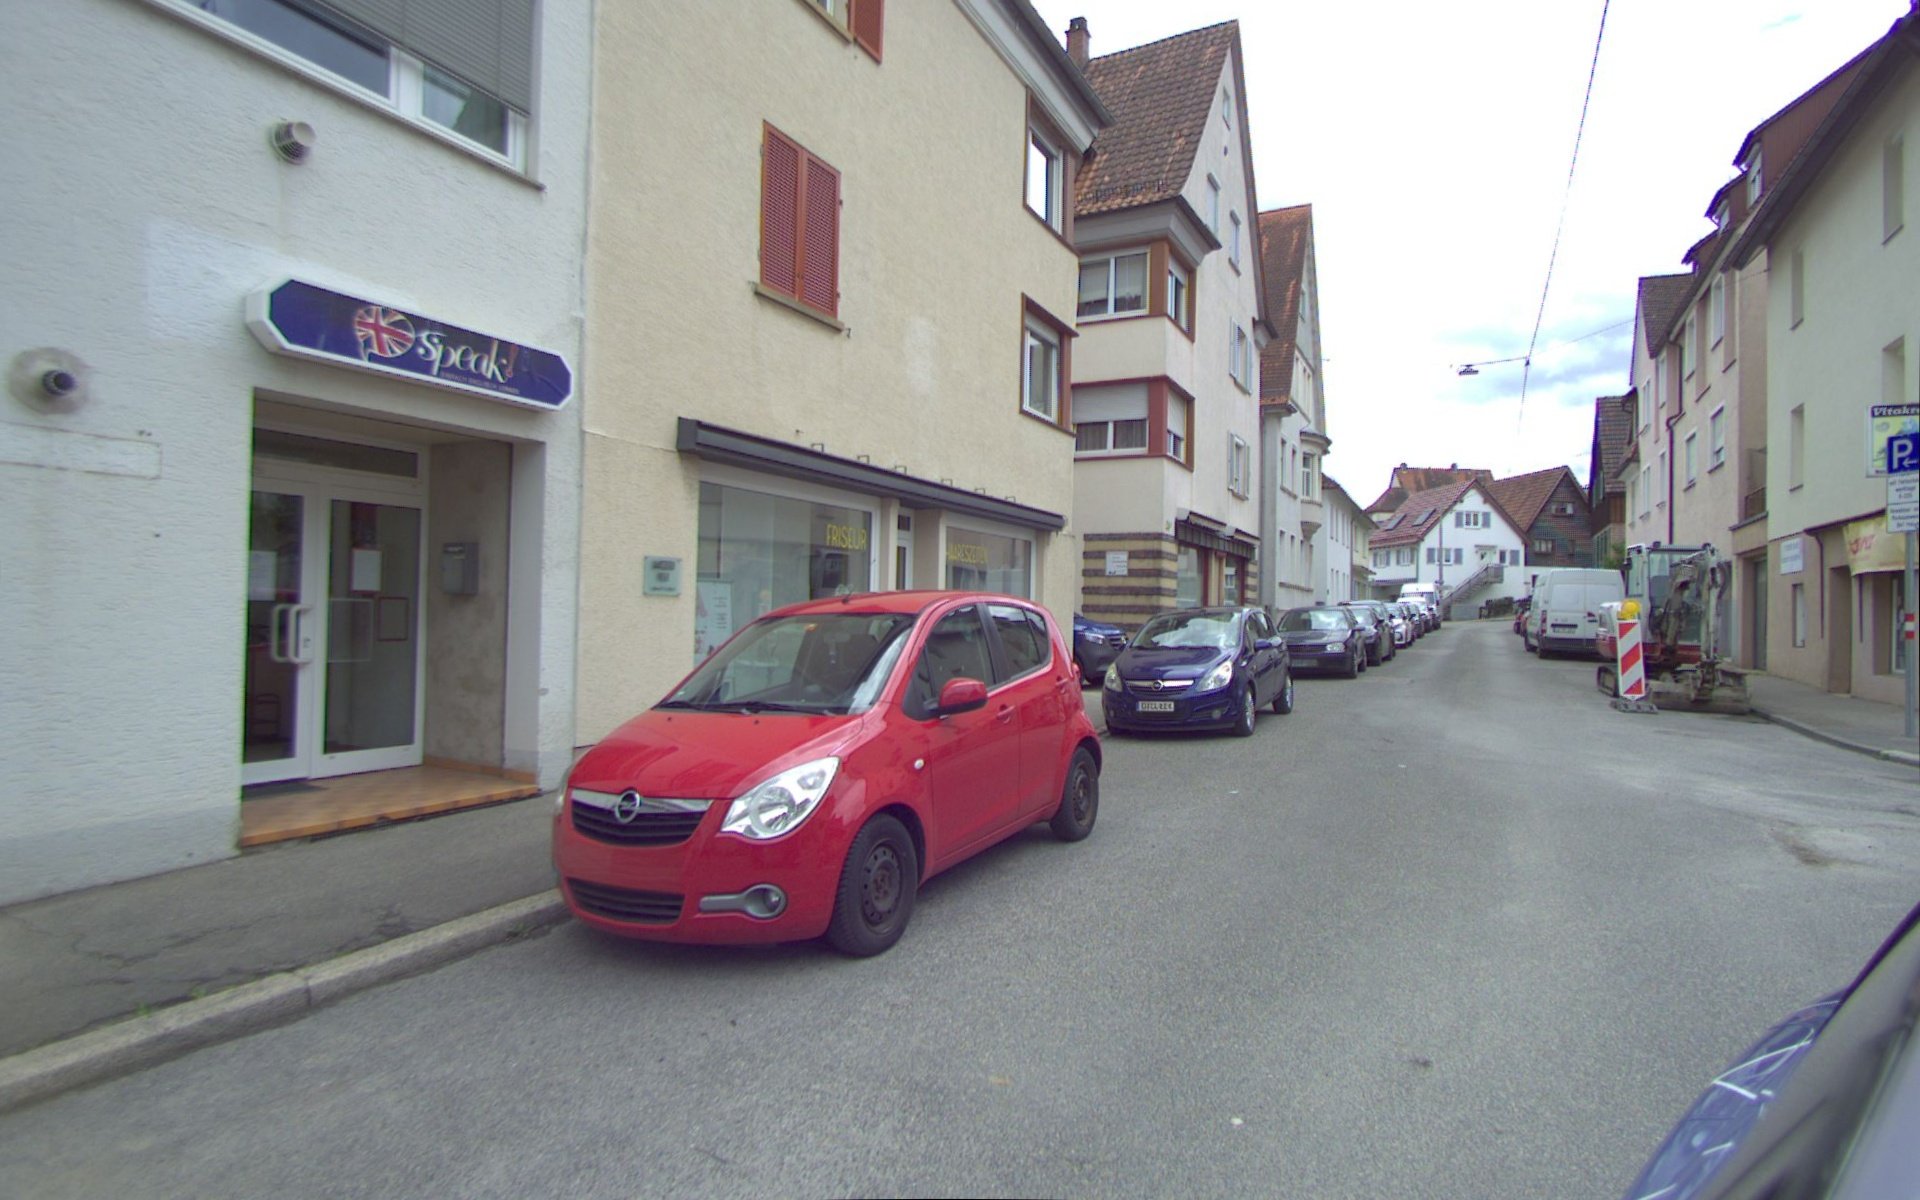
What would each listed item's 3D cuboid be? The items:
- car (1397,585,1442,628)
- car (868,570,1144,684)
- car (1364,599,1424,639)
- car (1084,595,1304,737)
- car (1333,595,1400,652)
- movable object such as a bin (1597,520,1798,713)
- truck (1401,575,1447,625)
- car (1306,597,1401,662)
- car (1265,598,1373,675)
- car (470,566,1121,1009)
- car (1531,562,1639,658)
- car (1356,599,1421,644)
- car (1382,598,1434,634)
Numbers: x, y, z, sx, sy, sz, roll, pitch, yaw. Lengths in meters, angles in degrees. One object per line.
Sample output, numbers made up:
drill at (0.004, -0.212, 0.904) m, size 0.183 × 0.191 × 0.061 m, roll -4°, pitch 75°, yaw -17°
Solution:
car at (23.221, 0.321, 51.118) m, size 1.682 × 2.030 × 4.052 m, roll -3°, pitch -1°, yaw 29°
car at (0.832, 0.548, 19.261) m, size 4.857 × 1.890 × 1.933 m, roll -3°, pitch -1°, yaw 29°
car at (16.627, 0.697, 38.679) m, size 1.682 × 1.408 × 3.676 m, roll -3°, pitch -1°, yaw 29°
car at (3.056, 0.713, 12.602) m, size 1.681 × 1.468 × 3.882 m, roll -3°, pitch -1°, yaw 28°
car at (12.123, 0.669, 30.092) m, size 1.678 × 1.539 × 4.071 m, roll -3°, pitch -1°, yaw 23°
movable object such as a bin at (11.225, 0.170, 15.737) m, size 1.556 × 2.531 × 4.634 m, roll 2°, pitch 1°, yaw 25°
truck at (25.671, -0.004, 55.912) m, size 1.810 × 2.628 × 4.731 m, roll -3°, pitch -1°, yaw 29°
car at (9.967, 0.695, 25.481) m, size 1.681 × 1.468 × 4.063 m, roll -3°, pitch -1°, yaw 28°
car at (7.556, 0.691, 21.079) m, size 1.680 × 1.421 × 3.965 m, roll -2°, pitch 0°, yaw 26°
car at (-0.538, 0.675, 5.631) m, size 1.682 × 1.576 × 3.658 m, roll -2°, pitch -1°, yaw 29°
car at (17.923, 0.216, 29.317) m, size 1.981 × 2.417 × 6.560 m, roll 2°, pitch 1°, yaw 26°
car at (14.760, 0.714, 34.757) m, size 1.681 × 1.408 × 3.763 m, roll -3°, pitch -1°, yaw 28°
car at (19.272, 0.660, 43.479) m, size 1.682 × 1.408 × 3.676 m, roll -3°, pitch -1°, yaw 29°
